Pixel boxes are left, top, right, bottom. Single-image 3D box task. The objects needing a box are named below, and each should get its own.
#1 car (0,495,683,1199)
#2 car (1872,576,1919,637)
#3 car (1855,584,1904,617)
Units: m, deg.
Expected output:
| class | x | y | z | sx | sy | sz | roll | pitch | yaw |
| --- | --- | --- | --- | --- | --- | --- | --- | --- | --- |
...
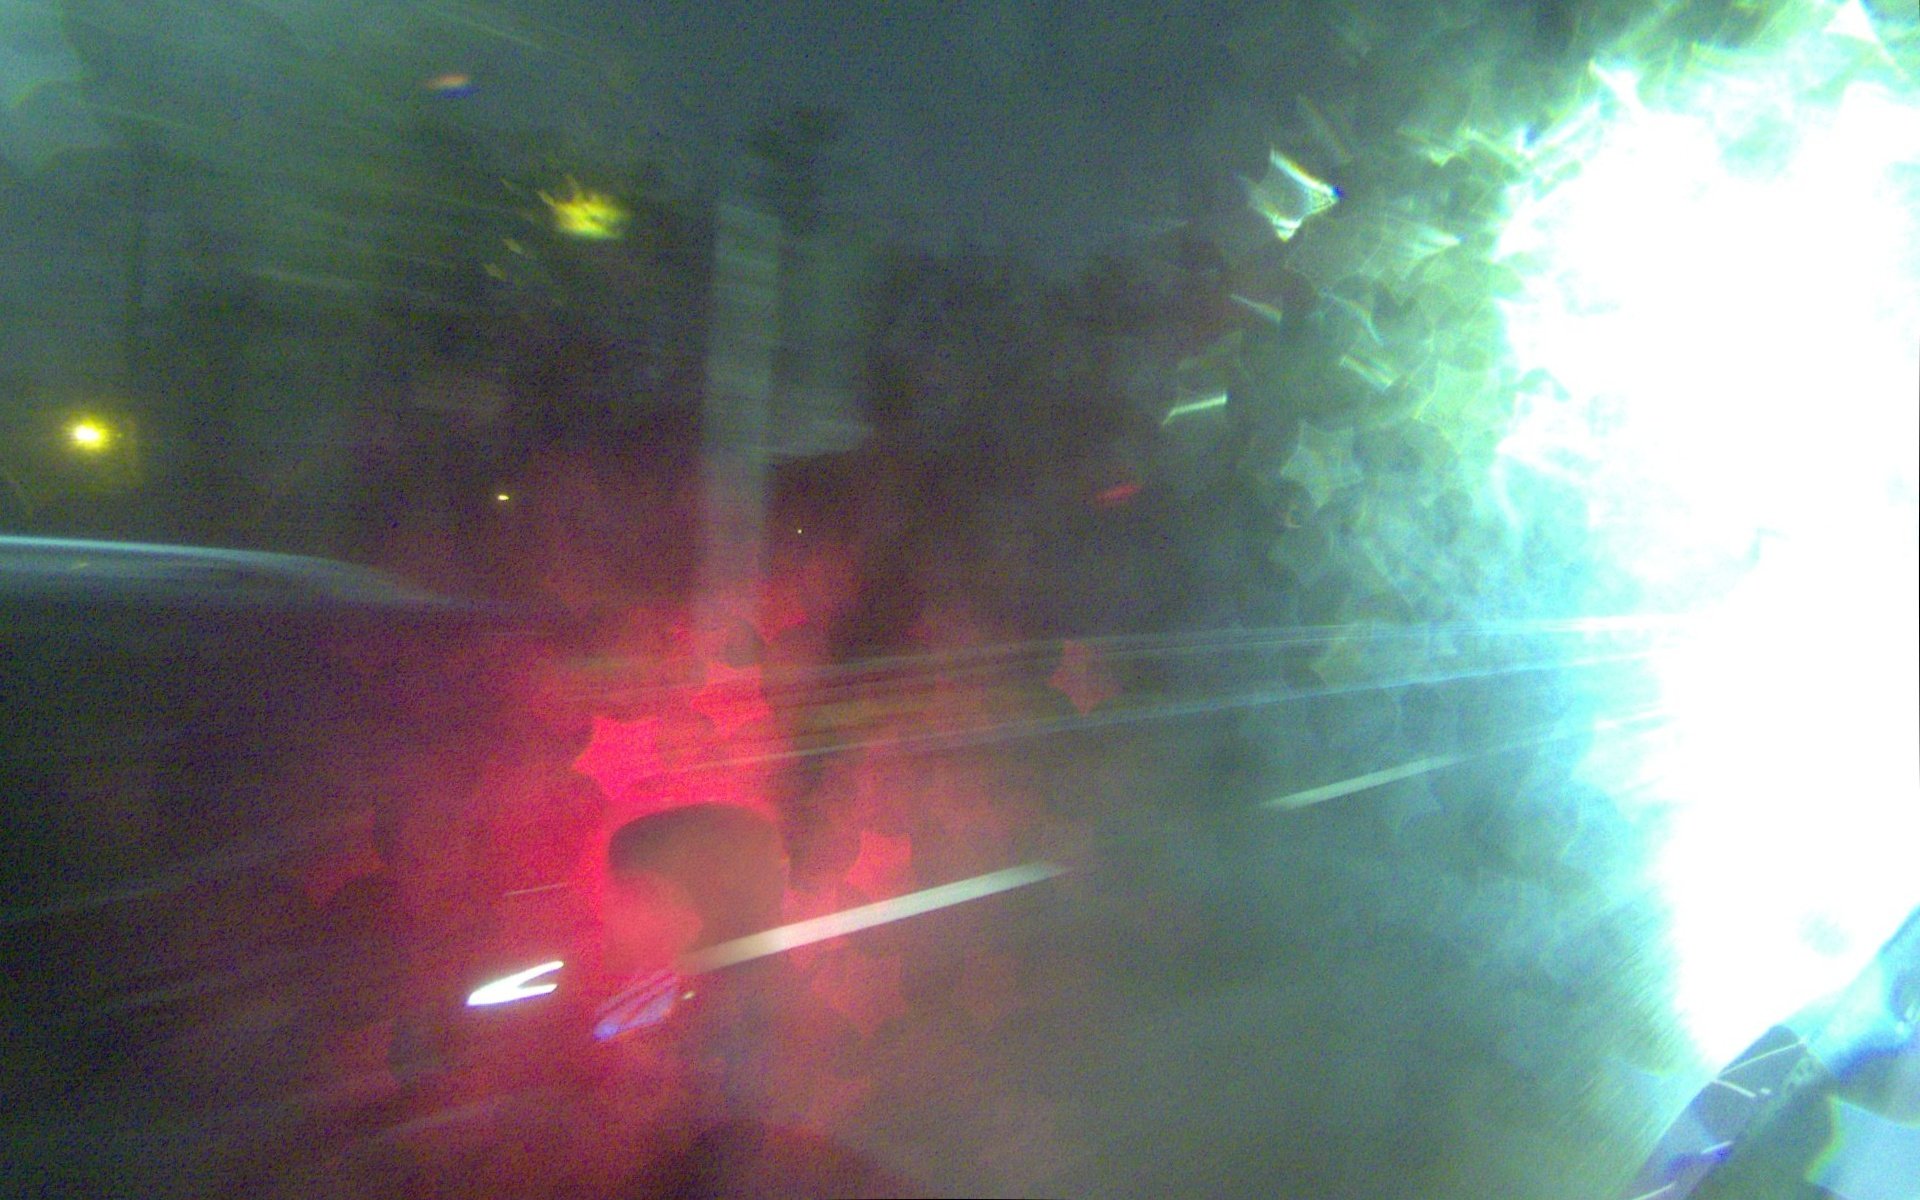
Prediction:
| class | x | y | z | sx | sy | sz | roll | pitch | yaw |
| --- | --- | --- | --- | --- | --- | --- | --- | --- | --- |
| car | -2.556 | 0.649 | 1.030 | 3.930 | 1.543 | 1.997 | 0 | 1 | -41 |
| car | 31.177 | 0.206 | 32.880 | 3.932 | 1.896 | 1.934 | 0 | 0 | -42 |
| car | 60.914 | 0.055 | 67.123 | 1.991 | 1.957 | 3.944 | 6 | 3 | 38 |
